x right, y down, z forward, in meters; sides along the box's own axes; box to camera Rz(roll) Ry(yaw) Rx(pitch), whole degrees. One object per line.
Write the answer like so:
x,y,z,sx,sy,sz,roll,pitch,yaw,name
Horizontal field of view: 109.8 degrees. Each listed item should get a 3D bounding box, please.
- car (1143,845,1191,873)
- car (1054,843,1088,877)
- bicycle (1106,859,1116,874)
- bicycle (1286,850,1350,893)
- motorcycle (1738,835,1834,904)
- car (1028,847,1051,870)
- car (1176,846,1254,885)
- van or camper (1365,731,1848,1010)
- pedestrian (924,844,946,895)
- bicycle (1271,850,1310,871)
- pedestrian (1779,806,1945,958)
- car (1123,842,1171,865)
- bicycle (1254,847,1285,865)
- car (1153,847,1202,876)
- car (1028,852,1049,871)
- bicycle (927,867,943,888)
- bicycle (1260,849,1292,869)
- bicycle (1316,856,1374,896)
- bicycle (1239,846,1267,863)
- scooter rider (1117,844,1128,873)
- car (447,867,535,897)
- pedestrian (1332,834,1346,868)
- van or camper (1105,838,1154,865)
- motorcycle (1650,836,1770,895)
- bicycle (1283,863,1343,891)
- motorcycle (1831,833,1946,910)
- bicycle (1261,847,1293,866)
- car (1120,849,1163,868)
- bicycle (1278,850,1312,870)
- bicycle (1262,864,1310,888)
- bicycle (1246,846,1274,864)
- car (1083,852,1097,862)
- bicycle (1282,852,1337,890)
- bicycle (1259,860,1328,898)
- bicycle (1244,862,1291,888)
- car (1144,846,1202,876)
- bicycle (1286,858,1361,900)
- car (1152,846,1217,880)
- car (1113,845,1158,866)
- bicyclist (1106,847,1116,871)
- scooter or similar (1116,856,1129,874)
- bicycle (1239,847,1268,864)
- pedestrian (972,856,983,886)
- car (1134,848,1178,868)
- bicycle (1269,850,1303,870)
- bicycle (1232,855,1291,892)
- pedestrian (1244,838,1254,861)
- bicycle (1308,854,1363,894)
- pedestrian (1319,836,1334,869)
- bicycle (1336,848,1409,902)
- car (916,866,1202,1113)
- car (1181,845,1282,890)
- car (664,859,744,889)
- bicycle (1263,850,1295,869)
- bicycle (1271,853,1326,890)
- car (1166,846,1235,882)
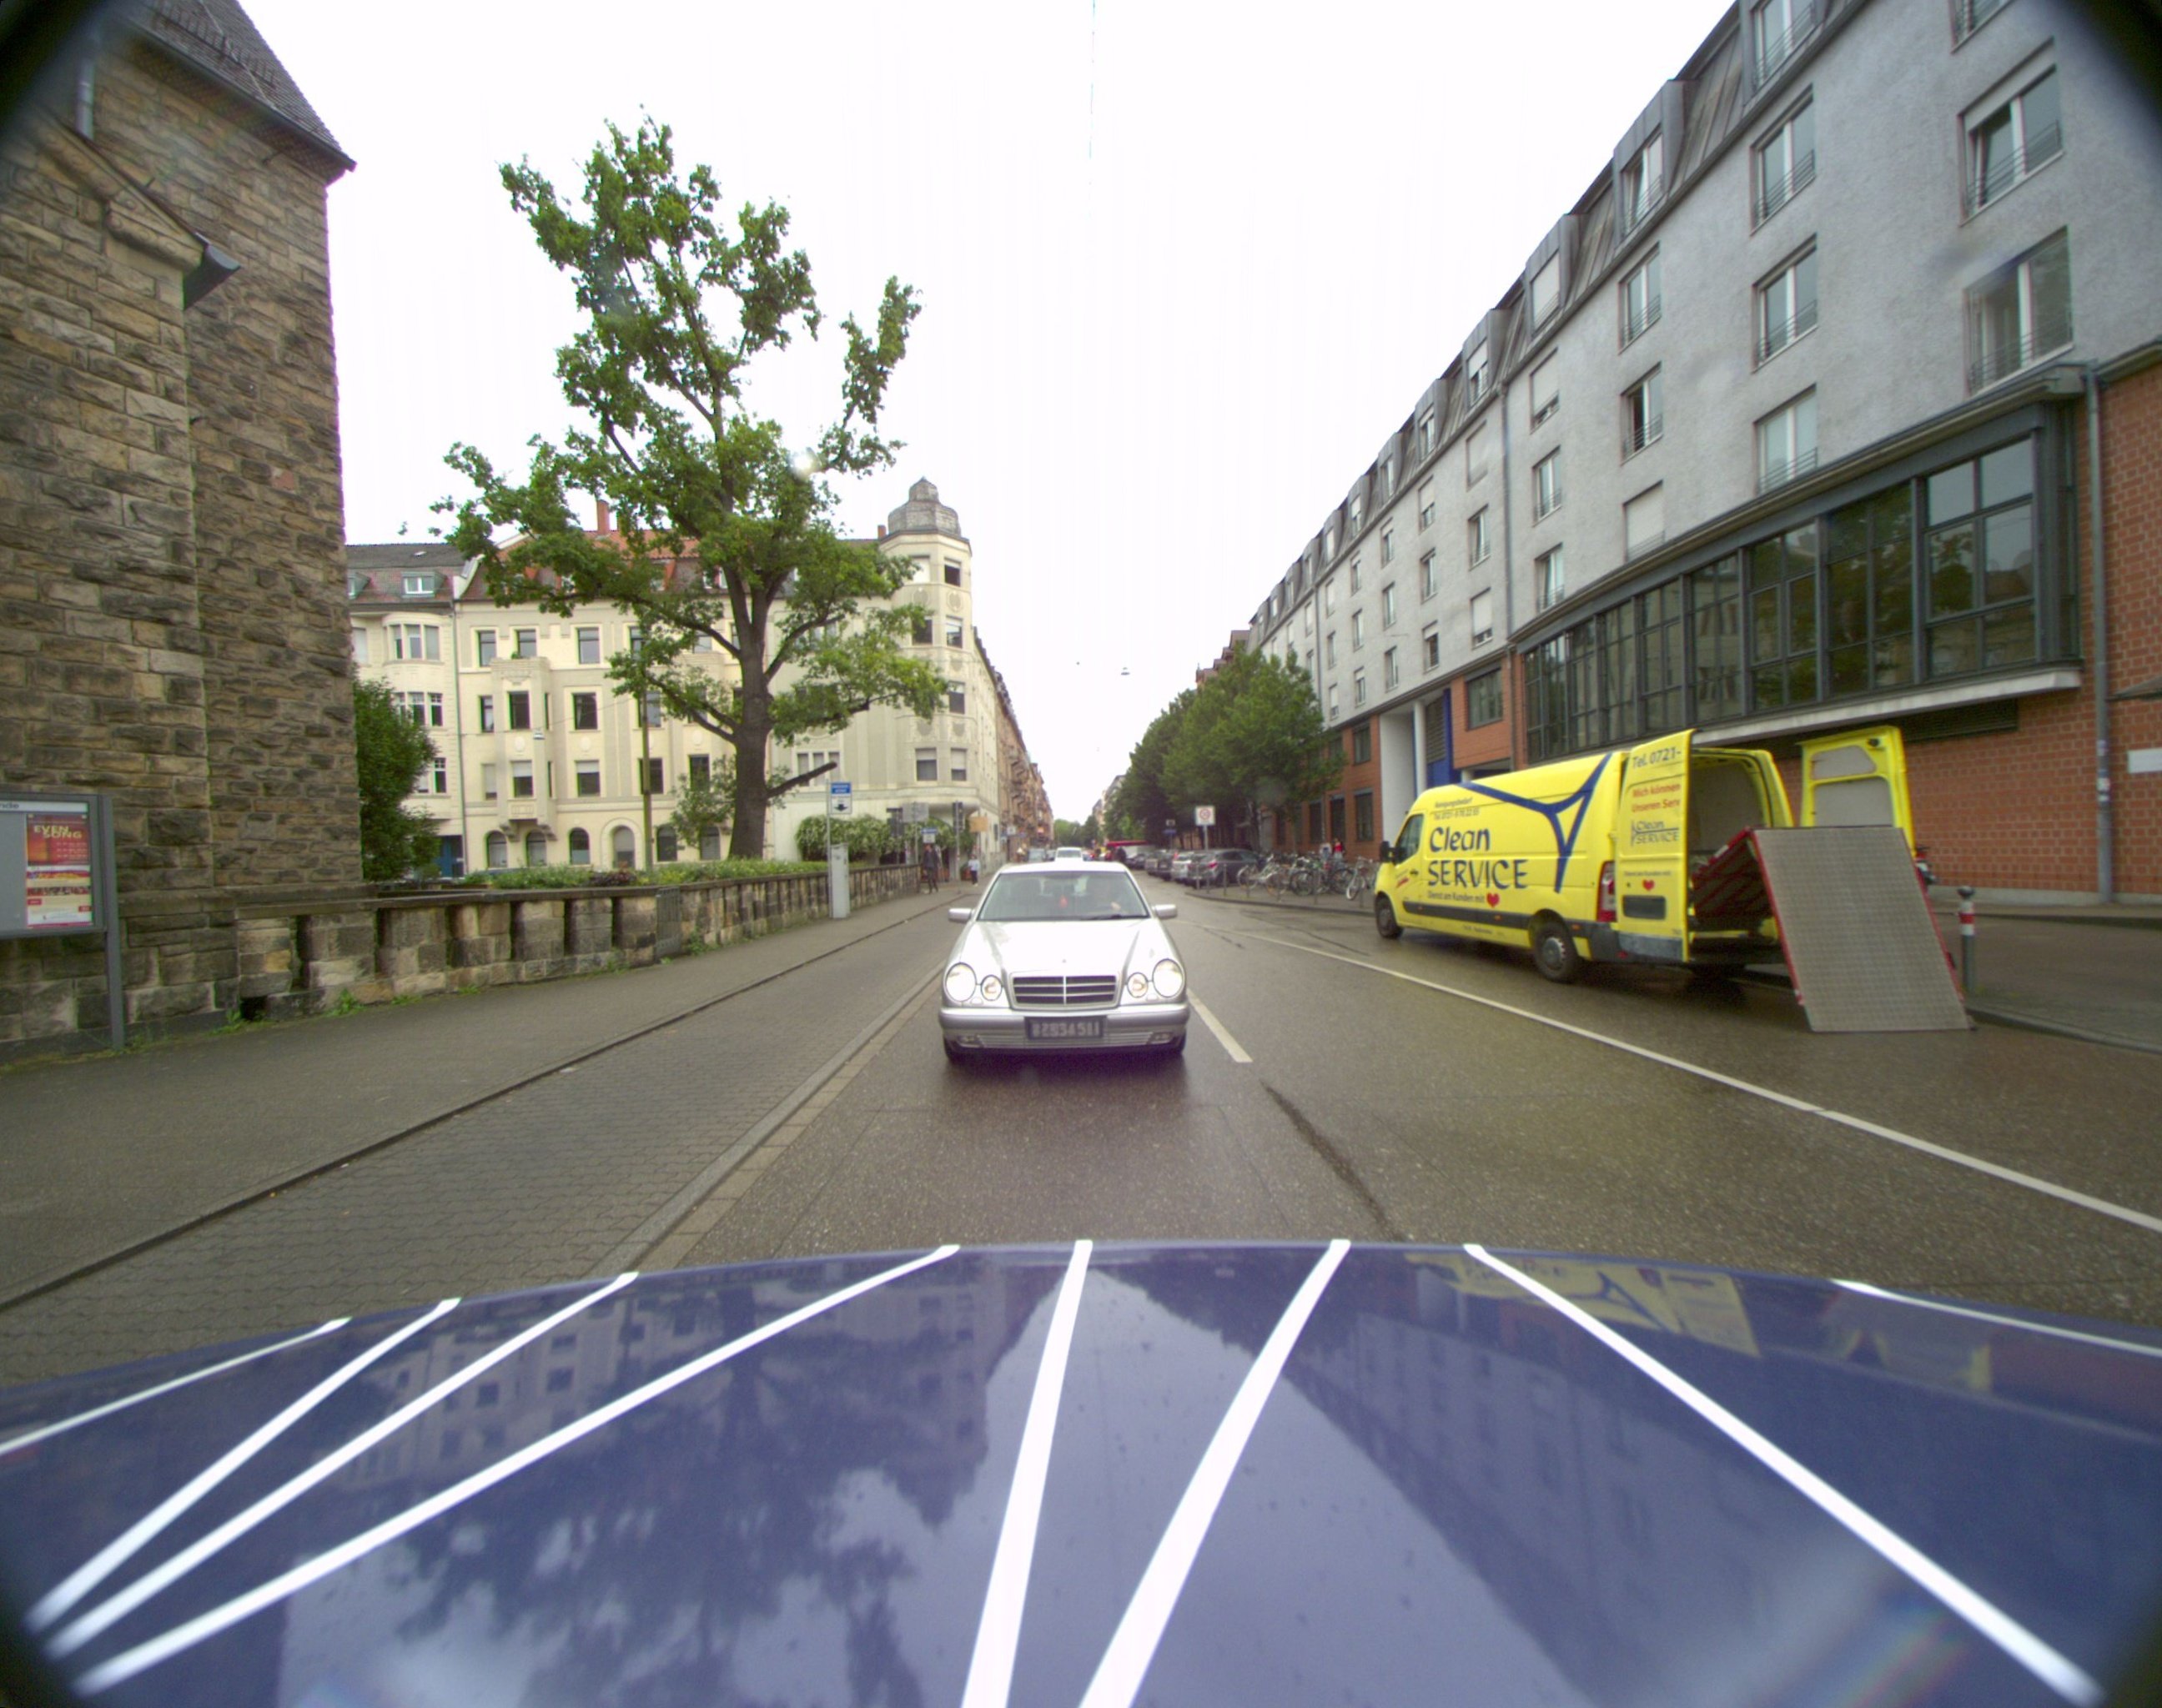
5.278,0.313,46.583,2.685,1.546,1.148,-3,1,-29,car
-0.569,0.343,48.130,1.998,2.002,4.000,-1,1,1,car
1.957,0.816,49.547,0.536,0.879,1.780,-2,1,-2,bicycle
7.232,0.517,23.160,1.815,1.187,0.519,-3,1,-13,bicycle
13.056,0.252,14.133,0.524,1.174,2.006,-3,1,19,motorcycle
-3.379,0.344,62.106,1.726,1.794,3.461,-1,1,0,car
5.757,0.484,32.594,3.083,1.494,1.449,-3,1,-31,car
6.081,0.132,10.134,2.202,2.596,5.940,-1,0,-2,van or camper
-5.430,0.563,28.329,0.646,1.862,0.693,-1,1,-1,pedestrian
10.562,0.312,38.250,1.851,0.979,0.445,-2,1,-8,bicycle
9.586,0.321,9.387,0.787,1.718,1.172,-3,1,-2,pedestrian
5.898,-0.054,67.765,4.338,1.884,1.685,-1,1,-41,car
10.513,0.118,42.422,1.590,0.979,0.465,-2,1,-8,bicycle
5.266,0.413,41.319,2.506,1.442,1.191,-3,1,-40,car
-3.178,0.548,57.062,1.447,1.348,3.204,-1,0,0,car
-7.353,1.190,38.266,0.390,0.888,2.023,-1,3,0,bicycle
10.423,0.267,40.638,1.590,0.979,0.445,-2,1,-8,bicycle
7.469,0.613,21.530,1.462,1.058,0.418,-3,1,4,bicycle
10.590,0.032,46.726,1.590,0.979,0.465,-2,1,-8,bicycle
2.824,0.294,51.980,0.712,1.924,0.503,-1,1,-2,scooter rider
-29.382,1.390,37.879,3.270,1.401,1.448,-1,1,2,car
12.360,-0.128,36.395,0.513,1.601,0.426,-1,1,28,pedestrian
4.921,-0.246,77.250,4.604,2.597,1.999,-1,1,-27,van or camper
13.419,0.217,16.309,0.651,1.150,2.204,-3,1,-2,motorcycle
7.245,0.707,23.751,1.773,0.757,0.456,-3,1,-13,bicycle
13.234,0.251,12.516,0.524,1.174,1.760,-3,1,19,motorcycle
10.631,0.138,41.257,1.590,0.979,0.445,-2,1,-8,bicycle
5.117,0.346,63.535,1.685,1.482,3.799,0,1,40,car
11.056,0.284,39.268,1.590,0.979,0.445,-2,1,-8,bicycle
7.014,0.734,25.997,1.473,0.717,0.497,-3,1,3,bicycle
10.741,0.053,45.592,1.590,0.979,0.465,-2,1,-8,bicycle
1.159,0.395,98.711,1.651,1.301,3.311,-1,0,-3,car
7.350,0.537,24.409,1.611,1.099,0.519,-3,1,-13,bicycle
6.109,0.718,21.861,1.800,0.987,0.520,-3,1,-2,bicycle
6.531,0.743,26.624,1.473,0.800,0.497,-3,1,3,bicycle
5.312,0.387,43.827,2.985,1.546,1.369,-3,1,-29,car
6.690,0.686,21.024,1.858,1.067,0.609,-3,1,5,bicycle
5.199,0.425,38.086,3.084,1.543,1.449,-3,1,-40,car
5.105,0.111,71.278,4.338,1.822,1.571,-1,1,-41,car
1.948,0.326,49.464,0.536,1.521,1.134,-2,1,-2,bicyclist
2.839,0.744,51.925,0.702,1.158,1.385,-1,1,-2,scooter or similar
10.157,0.084,44.696,1.590,0.979,0.465,-2,1,-8,bicycle
-5.104,0.848,37.470,0.482,1.452,0.392,-1,1,-1,pedestrian
6.059,0.319,61.021,1.685,1.482,3.799,0,1,40,car
10.433,0.306,38.723,1.590,0.979,0.445,-2,1,-8,bicycle
6.058,0.650,25.559,1.812,1.099,0.472,-3,1,-5,bicycle
11.670,-0.311,52.779,0.571,1.588,0.533,-2,1,1,pedestrian
7.452,0.592,22.305,1.461,1.096,0.462,-3,1,14,bicycle
11.965,-0.079,37.062,0.604,1.601,0.373,-1,1,13,pedestrian
7.561,0.518,19.670,1.922,1.209,0.768,-6,4,-35,bicycle
-0.139,0.889,6.808,1.764,1.420,3.999,-2,1,0,car
5.886,0.488,29.668,3.629,1.494,1.736,-3,2,-31,car
-18.987,1.013,38.337,3.270,1.401,1.448,-1,1,2,car
10.382,0.285,39.845,1.590,0.979,0.445,-2,1,-8,bicycle
7.159,0.570,25.052,1.610,1.099,0.520,-3,1,-5,bicycle
5.564,0.473,35.203,3.084,1.494,1.449,-3,1,-40,car
